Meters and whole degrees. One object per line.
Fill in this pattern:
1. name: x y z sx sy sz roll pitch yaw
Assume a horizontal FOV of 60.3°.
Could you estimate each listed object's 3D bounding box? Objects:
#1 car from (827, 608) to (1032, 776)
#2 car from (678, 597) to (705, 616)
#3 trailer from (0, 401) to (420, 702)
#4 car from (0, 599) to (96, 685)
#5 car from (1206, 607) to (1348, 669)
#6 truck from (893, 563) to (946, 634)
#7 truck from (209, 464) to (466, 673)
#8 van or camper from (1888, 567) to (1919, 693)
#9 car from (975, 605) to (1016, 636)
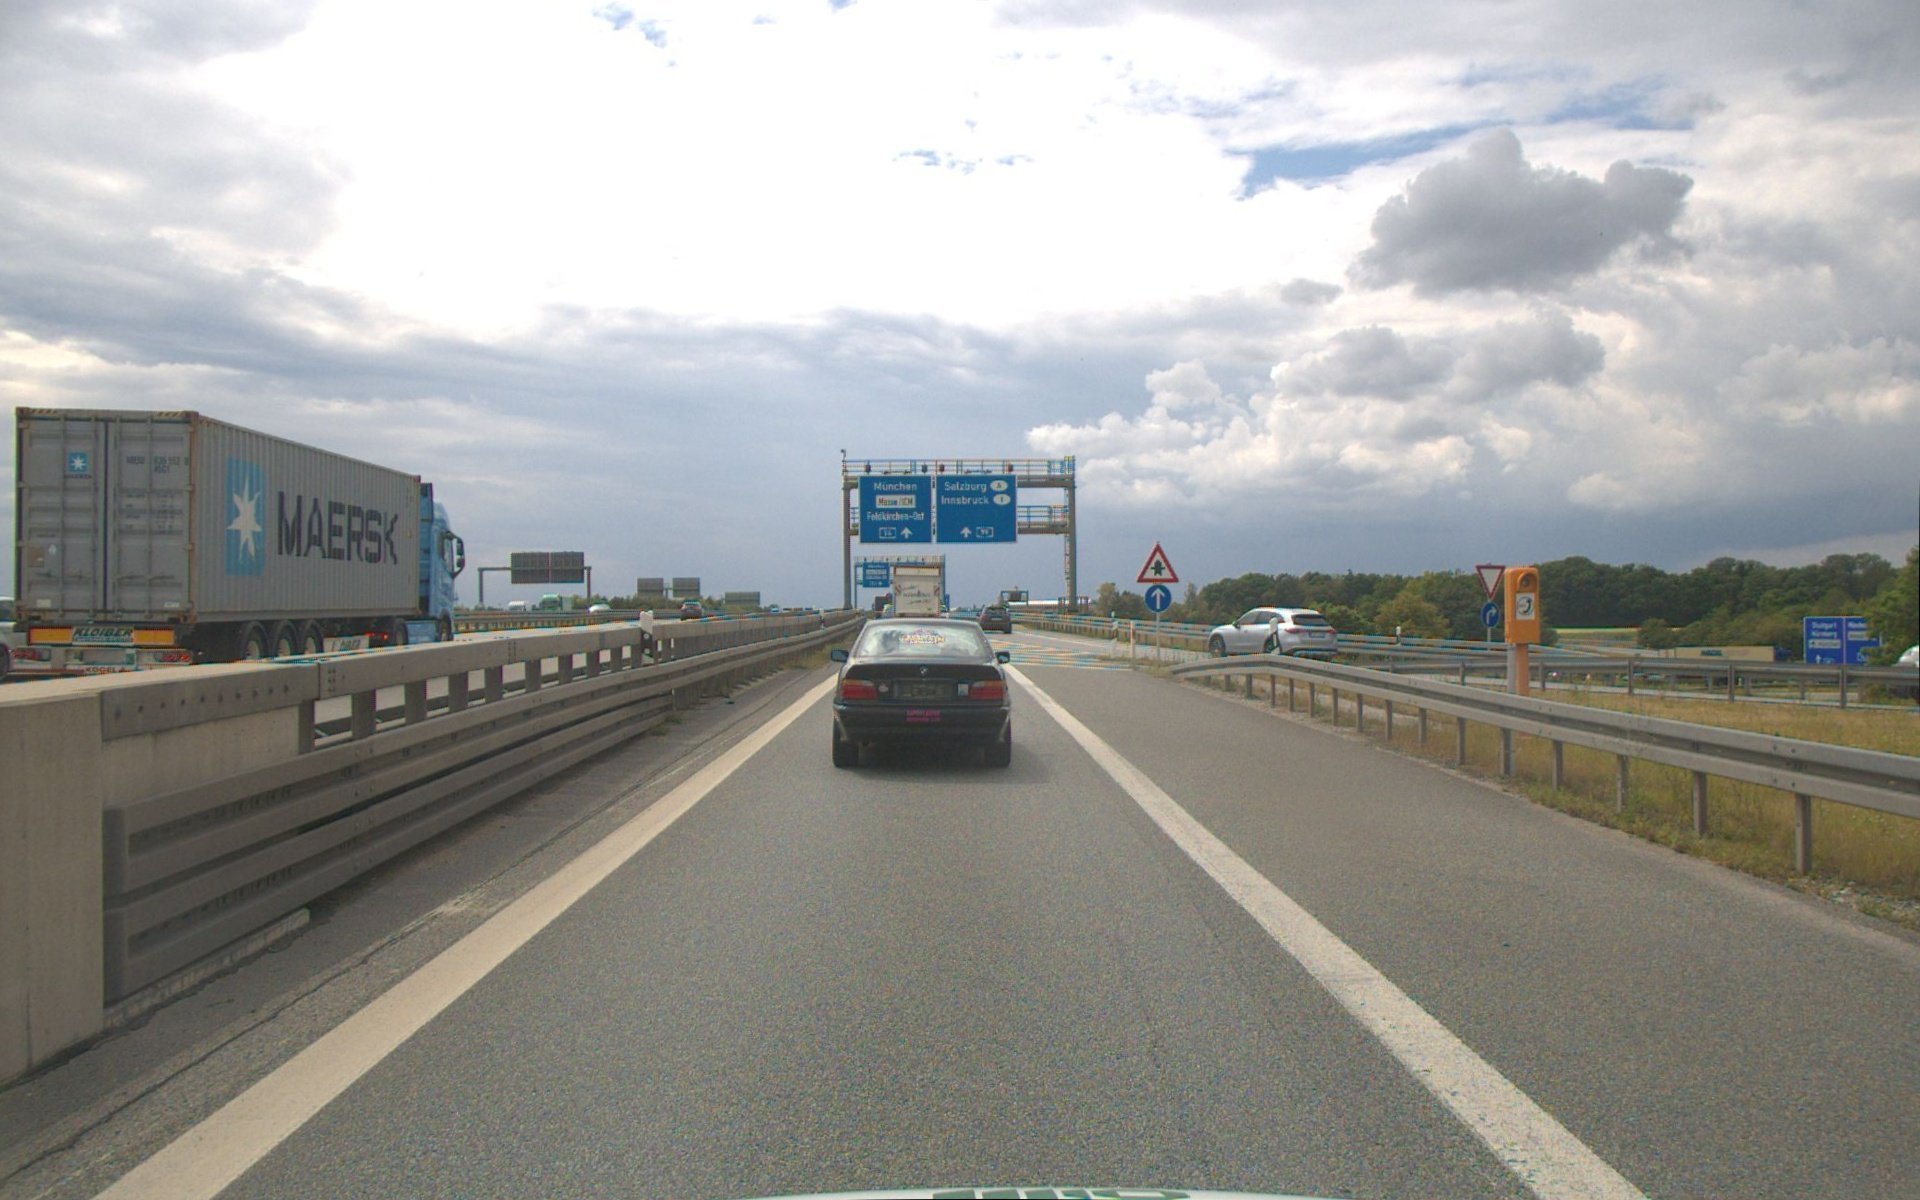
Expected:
1. car: -0.268 0.800 16.246 1.746 1.402 4.136 1 0 0
2. car: -23.022 0.558 141.868 1.855 1.625 4.414 1 0 -4
3. trailer: -12.543 -0.628 28.381 3.172 3.993 12.370 1 0 -4
4. car: -16.525 0.678 28.173 1.718 1.393 4.201 0 0 -5
5. car: 9.148 1.071 48.022 1.913 1.714 4.171 1 0 -27
6. truck: -1.936 -0.078 77.181 2.356 3.144 6.367 1 0 -2
7. truck: -12.984 -0.603 35.206 3.182 3.980 6.606 1 0 -3
8. van or camper: 20.792 0.611 30.756 5.835 2.402 2.217 1 -1 43
9. car: 1.850 1.052 87.622 1.953 1.579 3.998 1 0 -2
